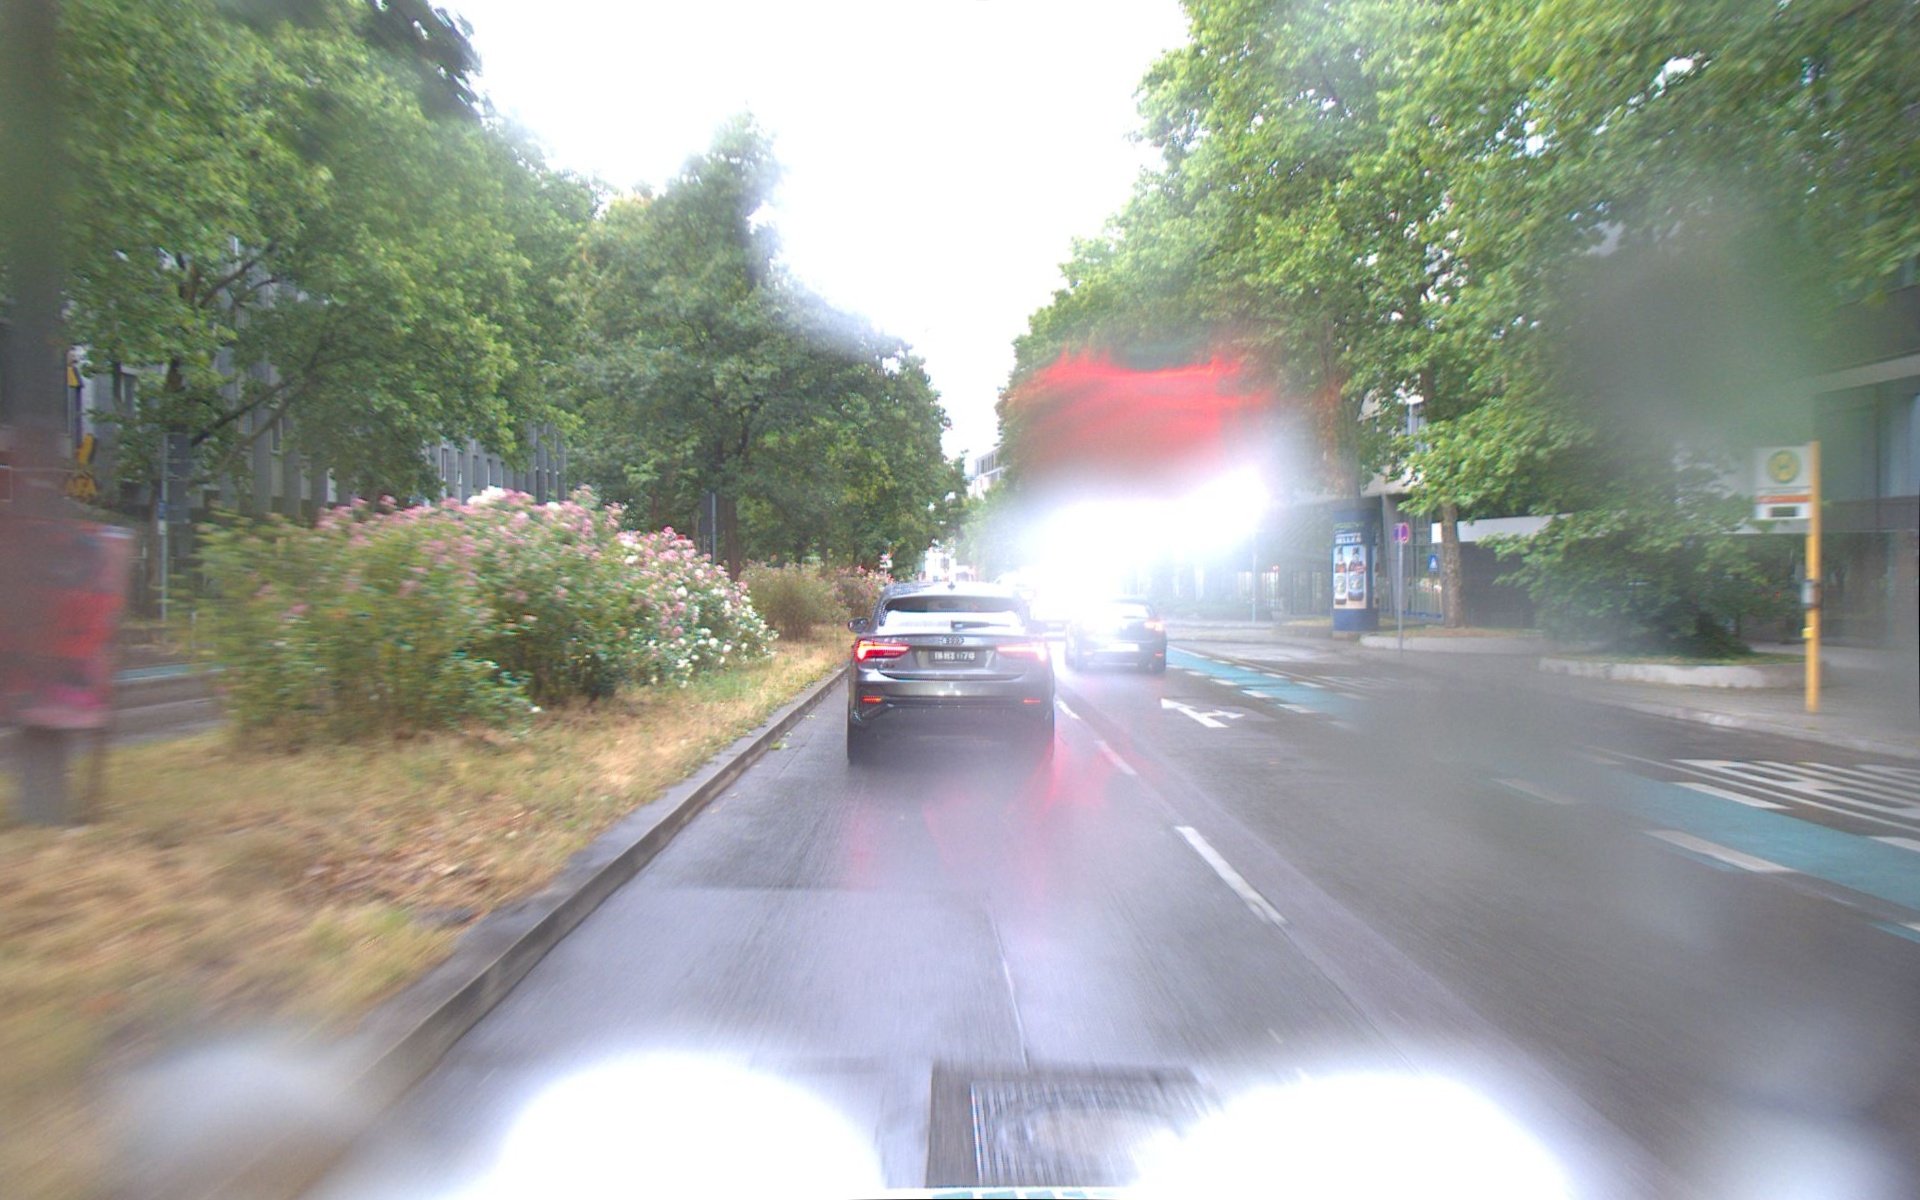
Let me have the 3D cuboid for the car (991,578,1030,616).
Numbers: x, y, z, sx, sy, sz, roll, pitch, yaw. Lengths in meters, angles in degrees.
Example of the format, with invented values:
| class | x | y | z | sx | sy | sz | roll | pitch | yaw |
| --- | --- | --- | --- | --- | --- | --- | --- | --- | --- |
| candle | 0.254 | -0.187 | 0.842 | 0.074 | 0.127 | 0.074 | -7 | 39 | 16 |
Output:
| class | x | y | z | sx | sy | sz | roll | pitch | yaw |
| --- | --- | --- | --- | --- | --- | --- | --- | --- | --- |
| car | 2.420 | -0.160 | 80.405 | 1.785 | 1.780 | 4.000 | 0 | 1 | 0 |

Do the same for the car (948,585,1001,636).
| class | x | y | z | sx | sy | sz | roll | pitch | yaw |
| --- | --- | --- | --- | --- | --- | --- | --- | --- | --- |
| car | 0.449 | 0.312 | 54.496 | 1.686 | 1.605 | 3.961 | 0 | 1 | -1 |

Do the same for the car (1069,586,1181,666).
| class | x | y | z | sx | sy | sz | roll | pitch | yaw |
| --- | --- | --- | --- | --- | --- | --- | --- | --- | --- |
| car | 3.177 | 0.457 | 32.486 | 1.729 | 1.437 | 3.999 | 0 | 1 | -1 |

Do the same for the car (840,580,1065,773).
| class | x | y | z | sx | sy | sz | roll | pitch | yaw |
| --- | --- | --- | --- | --- | --- | --- | --- | --- | --- |
| car | -0.030 | 0.595 | 15.730 | 1.825 | 1.559 | 4.527 | 0 | 1 | 1 |

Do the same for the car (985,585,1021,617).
| class | x | y | z | sx | sy | sz | roll | pitch | yaw |
| --- | --- | --- | --- | --- | --- | --- | --- | --- | --- |
| car | 2.426 | 0.055 | 94.784 | 1.953 | 1.780 | 4.000 | 0 | 1 | 0 |

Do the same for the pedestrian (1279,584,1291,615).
| class | x | y | z | sx | sy | sz | roll | pitch | yaw |
| --- | --- | --- | --- | --- | --- | --- | --- | --- | --- |
| pedestrian | 19.870 | -0.025 | 101.098 | 0.637 | 1.847 | 0.655 | 0 | 0 | -1 |

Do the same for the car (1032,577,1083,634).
| class | x | y | z | sx | sy | sz | roll | pitch | yaw |
| --- | --- | --- | --- | --- | --- | --- | --- | --- | --- |
| car | 3.032 | 0.148 | 51.821 | 1.404 | 1.714 | 2.979 | 0 | 1 | 0 |

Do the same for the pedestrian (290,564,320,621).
| class | x | y | z | sx | sy | sz | roll | pitch | yaw |
| --- | --- | --- | --- | --- | --- | --- | --- | --- | --- |
| pedestrian | -23.923 | -0.277 | 60.415 | 0.862 | 2.049 | 0.636 | 1 | 0 | -1 |
